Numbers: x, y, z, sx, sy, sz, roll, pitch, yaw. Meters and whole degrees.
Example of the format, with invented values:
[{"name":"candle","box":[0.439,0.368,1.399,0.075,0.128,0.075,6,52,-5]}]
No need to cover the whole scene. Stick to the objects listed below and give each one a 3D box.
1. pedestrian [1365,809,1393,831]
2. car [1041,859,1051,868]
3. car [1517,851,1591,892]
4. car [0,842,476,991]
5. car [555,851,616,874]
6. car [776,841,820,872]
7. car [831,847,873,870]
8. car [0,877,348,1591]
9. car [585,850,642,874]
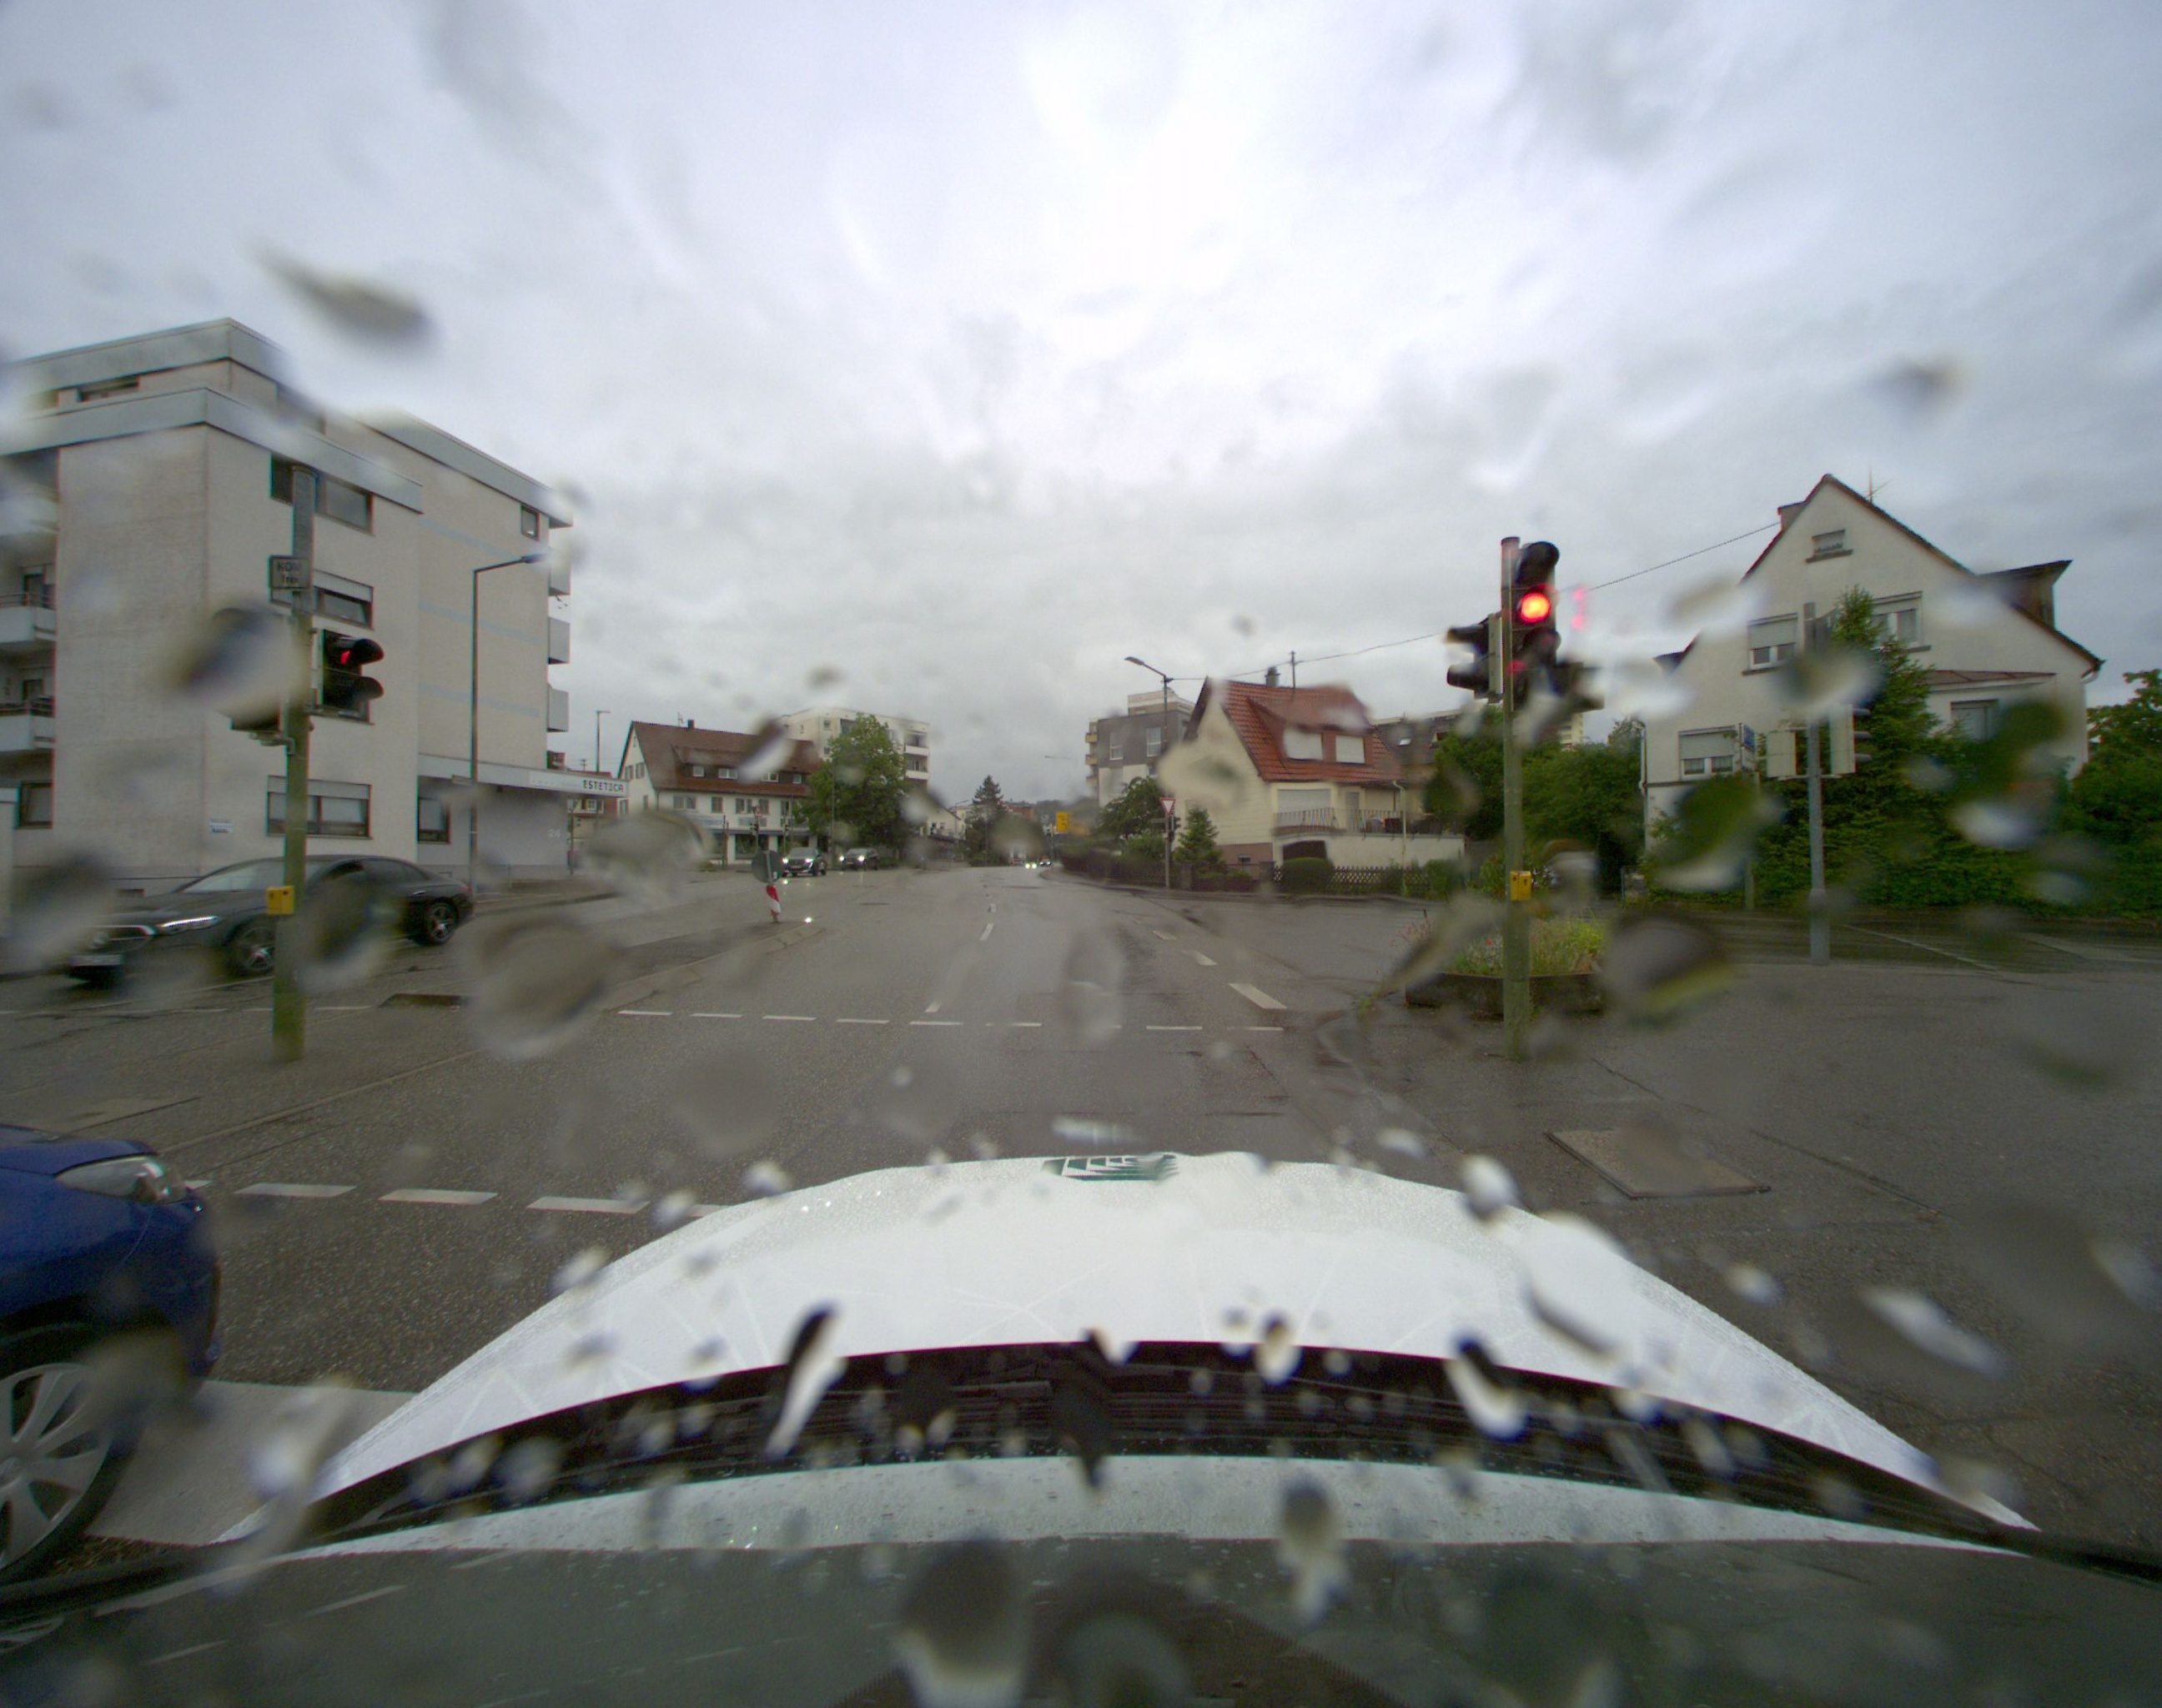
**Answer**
[{"name":"pedestrian","box":[12.763,-1.432,34.853,0.918,0.883,0.632,0,-3,-18]},{"name":"car","box":[-7.192,1.988,166.954,1.990,1.737,5.173,0,0,-4]},{"name":"car","box":[17.104,0.599,29.368,1.794,1.362,4.025,-1,-1,37]},{"name":"car","box":[-10.999,0.702,11.291,1.989,1.625,4.534,0,0,-3]},{"name":"car","box":[-41.221,0.675,67.802,4.093,1.843,1.864,0,-1,-44]},{"name":"car","box":[-14.638,0.147,42.311,1.971,1.512,3.978,0,-1,-16]},{"name":"car","box":[-16.143,0.336,57.601,1.874,1.597,4.180,0,-1,-3]},{"name":"car","box":[-2.961,0.789,0.723,1.499,1.413,3.365,0,0,2]},{"name":"car","box":[-38.447,0.636,66.979,3.706,1.920,1.864,0,-1,-44]}]
